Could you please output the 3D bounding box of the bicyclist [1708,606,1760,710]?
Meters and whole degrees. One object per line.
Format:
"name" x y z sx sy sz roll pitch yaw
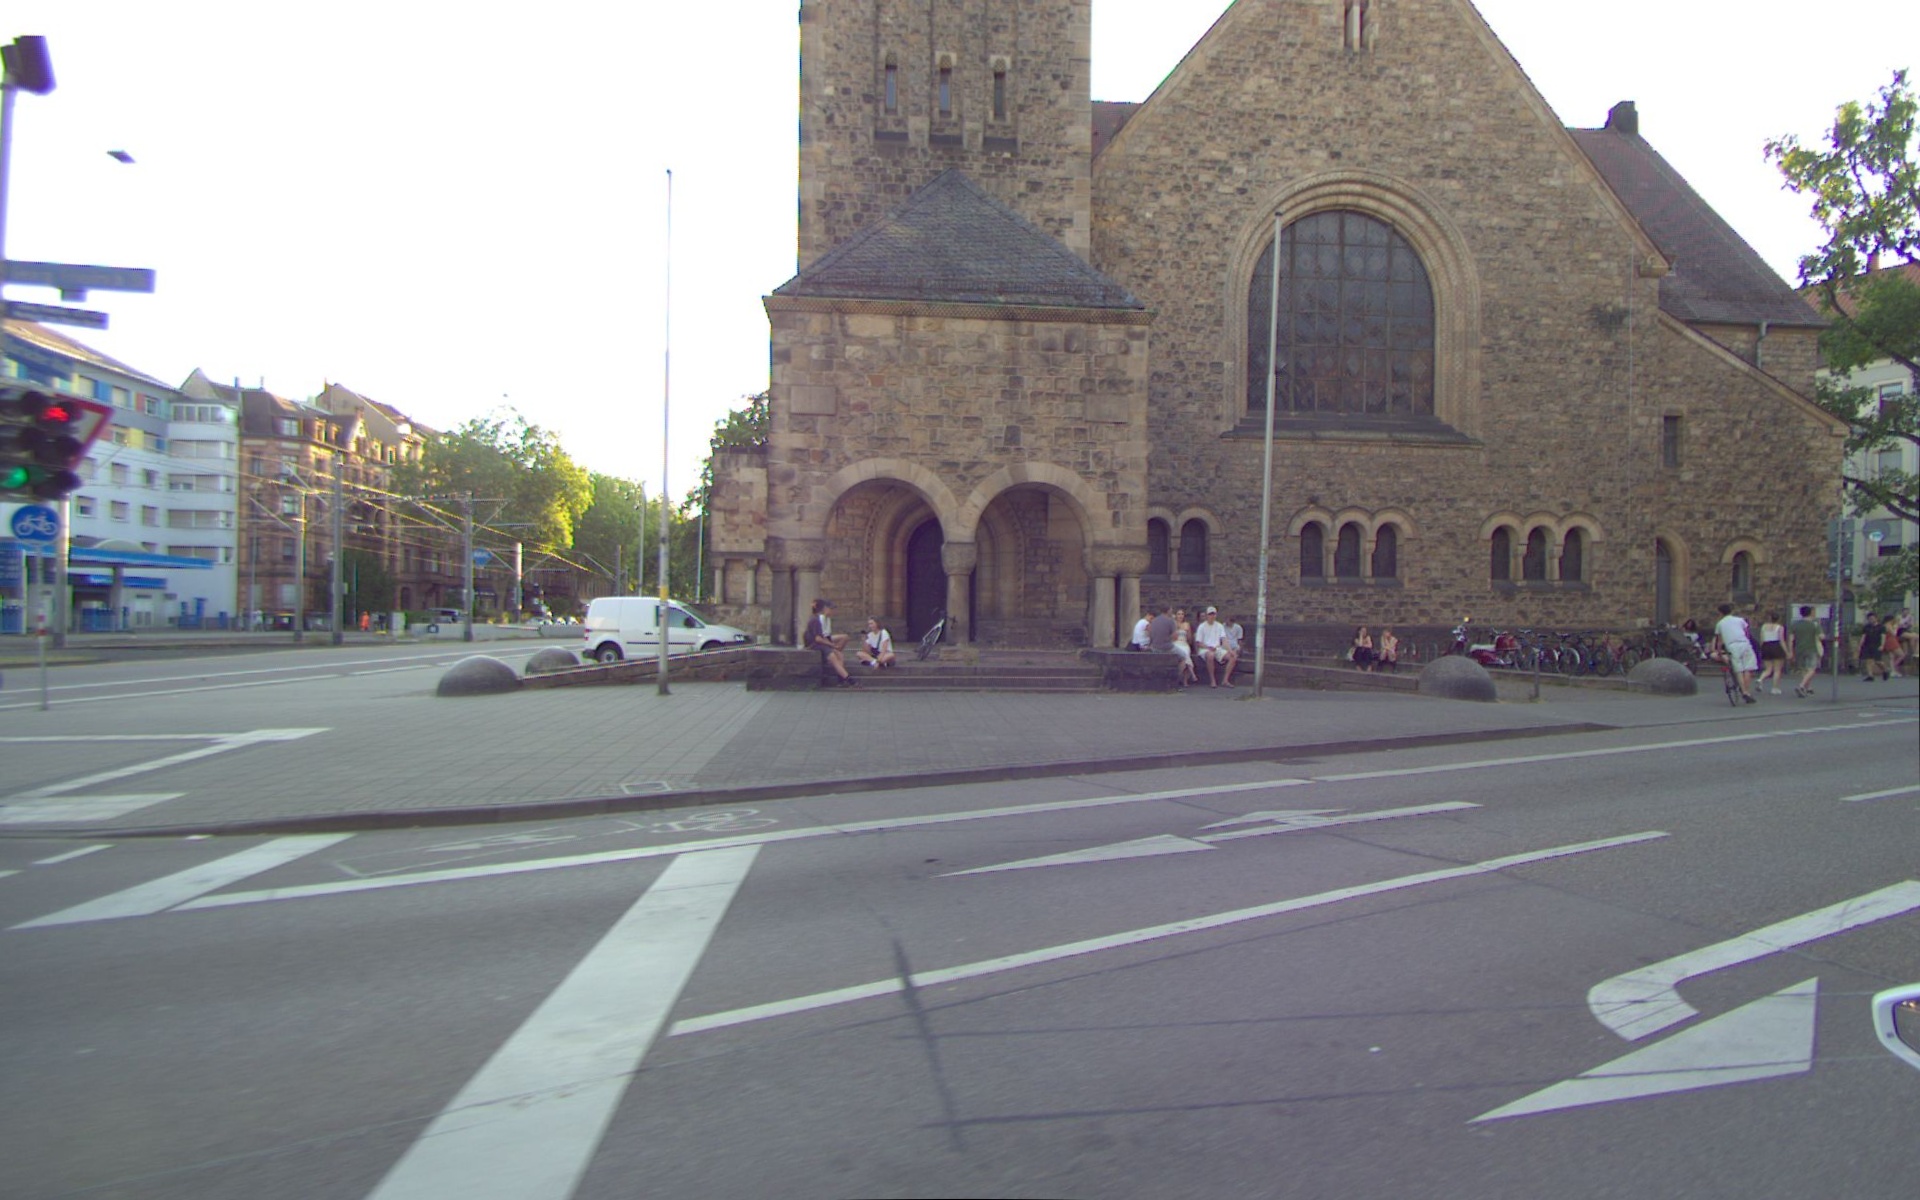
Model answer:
"bicyclist" 14.638 1.070 18.987 0.697 1.905 0.938 2 1 40

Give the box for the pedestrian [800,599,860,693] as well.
"pedestrian" -2.085 0.737 16.226 0.897 1.473 0.630 1 -1 -3

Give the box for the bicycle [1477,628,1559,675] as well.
"bicycle" 13.962 1.280 25.195 0.576 1.002 2.002 1 2 -14

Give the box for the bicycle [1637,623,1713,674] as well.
"bicycle" 18.322 1.219 25.789 0.430 1.265 1.728 1 -1 -15

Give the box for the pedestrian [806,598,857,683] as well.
"pedestrian" -2.160 0.671 17.001 0.685 1.393 0.804 1 -1 4

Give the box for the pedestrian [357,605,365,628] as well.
"pedestrian" -48.603 1.371 81.557 0.446 1.850 0.550 1 -1 -22

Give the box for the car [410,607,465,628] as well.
"car" -53.001 1.760 101.938 4.409 2.040 1.998 1 -1 -7

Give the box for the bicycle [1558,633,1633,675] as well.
"bicycle" 16.100 1.347 25.501 0.364 1.002 1.879 1 -1 -14

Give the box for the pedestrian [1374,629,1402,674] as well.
"pedestrian" 9.773 1.162 22.937 0.551 1.005 0.695 0 -1 27

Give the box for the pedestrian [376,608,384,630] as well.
"pedestrian" -47.651 1.562 82.556 0.446 1.850 0.550 1 -1 -22

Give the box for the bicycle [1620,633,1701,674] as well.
"bicycle" 17.866 1.349 25.669 0.434 1.002 1.879 1 -1 -14

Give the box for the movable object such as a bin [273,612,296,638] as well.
"movable object such as a bin" -53.680 2.016 79.879 1.478 2.040 1.347 1 -1 -34

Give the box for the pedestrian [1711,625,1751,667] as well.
"pedestrian" 20.156 1.209 26.255 0.688 1.070 0.516 1 -1 -13

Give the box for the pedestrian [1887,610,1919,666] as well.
"pedestrian" 26.914 1.079 28.522 0.574 1.566 0.652 1 0 -6

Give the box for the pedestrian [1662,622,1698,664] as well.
"pedestrian" 18.882 1.121 26.356 0.726 1.062 0.519 1 0 31

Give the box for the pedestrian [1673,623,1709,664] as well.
"pedestrian" 19.472 1.150 26.772 0.596 1.062 0.498 1 0 -9

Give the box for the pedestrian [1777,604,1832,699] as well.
"pedestrian" 17.432 1.044 20.730 0.881 1.904 0.643 1 0 -33

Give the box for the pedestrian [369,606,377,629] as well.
"pedestrian" -48.161 1.417 82.362 0.446 1.850 0.550 1 -1 -22

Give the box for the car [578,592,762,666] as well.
"car" -7.474 0.756 26.157 4.321 1.832 1.584 1 -1 -3

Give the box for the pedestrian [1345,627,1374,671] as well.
"pedestrian" 9.221 1.119 23.162 0.551 0.980 0.649 0 -1 27

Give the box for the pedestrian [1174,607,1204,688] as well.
"pedestrian" 4.124 0.844 18.126 0.449 1.425 0.548 1 -1 6

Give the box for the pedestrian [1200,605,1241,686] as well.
"pedestrian" 4.725 0.812 18.250 0.619 1.425 0.704 1 -1 6

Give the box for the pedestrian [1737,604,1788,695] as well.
"pedestrian" 17.006 1.029 21.287 0.978 1.881 0.569 1 0 -33

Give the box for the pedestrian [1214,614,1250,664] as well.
"pedestrian" 6.329 0.894 23.333 0.672 1.109 1.333 0 -1 21

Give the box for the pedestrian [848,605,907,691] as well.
"pedestrian" -1.367 0.797 16.819 0.686 1.393 0.803 0 -1 22

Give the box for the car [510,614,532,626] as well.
"car" -52.305 2.406 119.724 1.480 1.415 3.224 1 -1 -8

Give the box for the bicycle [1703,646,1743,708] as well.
"bicycle" 14.481 1.429 19.051 0.544 1.026 2.178 2 0 38

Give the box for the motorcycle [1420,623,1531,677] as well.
"motorcycle" 12.493 1.179 24.436 0.811 1.141 2.407 1 1 -25

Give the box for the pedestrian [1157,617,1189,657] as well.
"pedestrian" 5.034 0.867 23.693 0.635 0.928 0.740 0 -1 21

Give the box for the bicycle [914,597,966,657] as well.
"bicycle" -0.402 0.501 18.986 0.584 1.071 2.281 1 -1 -11

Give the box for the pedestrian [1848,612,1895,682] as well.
"pedestrian" 23.189 1.177 25.551 0.683 1.748 0.711 1 -1 -29

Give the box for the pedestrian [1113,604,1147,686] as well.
"pedestrian" 2.987 0.787 17.656 0.537 1.425 0.402 1 -1 5

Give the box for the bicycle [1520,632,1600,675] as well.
"bicycle" 15.112 1.326 25.357 0.458 1.002 2.003 1 -1 -14

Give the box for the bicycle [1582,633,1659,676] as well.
"bicycle" 16.673 1.359 25.412 0.364 1.002 1.879 1 -1 -14

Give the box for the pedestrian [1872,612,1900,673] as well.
"pedestrian" 26.085 1.196 28.300 0.407 1.697 0.548 1 0 21

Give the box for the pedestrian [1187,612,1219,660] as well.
"pedestrian" 5.728 0.844 23.674 0.635 1.090 0.830 0 -1 21

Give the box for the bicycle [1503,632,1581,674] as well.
"bicycle" 14.614 1.317 25.285 0.458 1.002 2.003 1 -1 -14

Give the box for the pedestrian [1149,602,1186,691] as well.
"pedestrian" 3.535 0.783 17.107 0.546 1.472 0.551 1 -1 6

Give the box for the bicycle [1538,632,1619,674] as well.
"bicycle" 15.642 1.330 25.460 0.458 1.002 1.985 1 -1 -14
